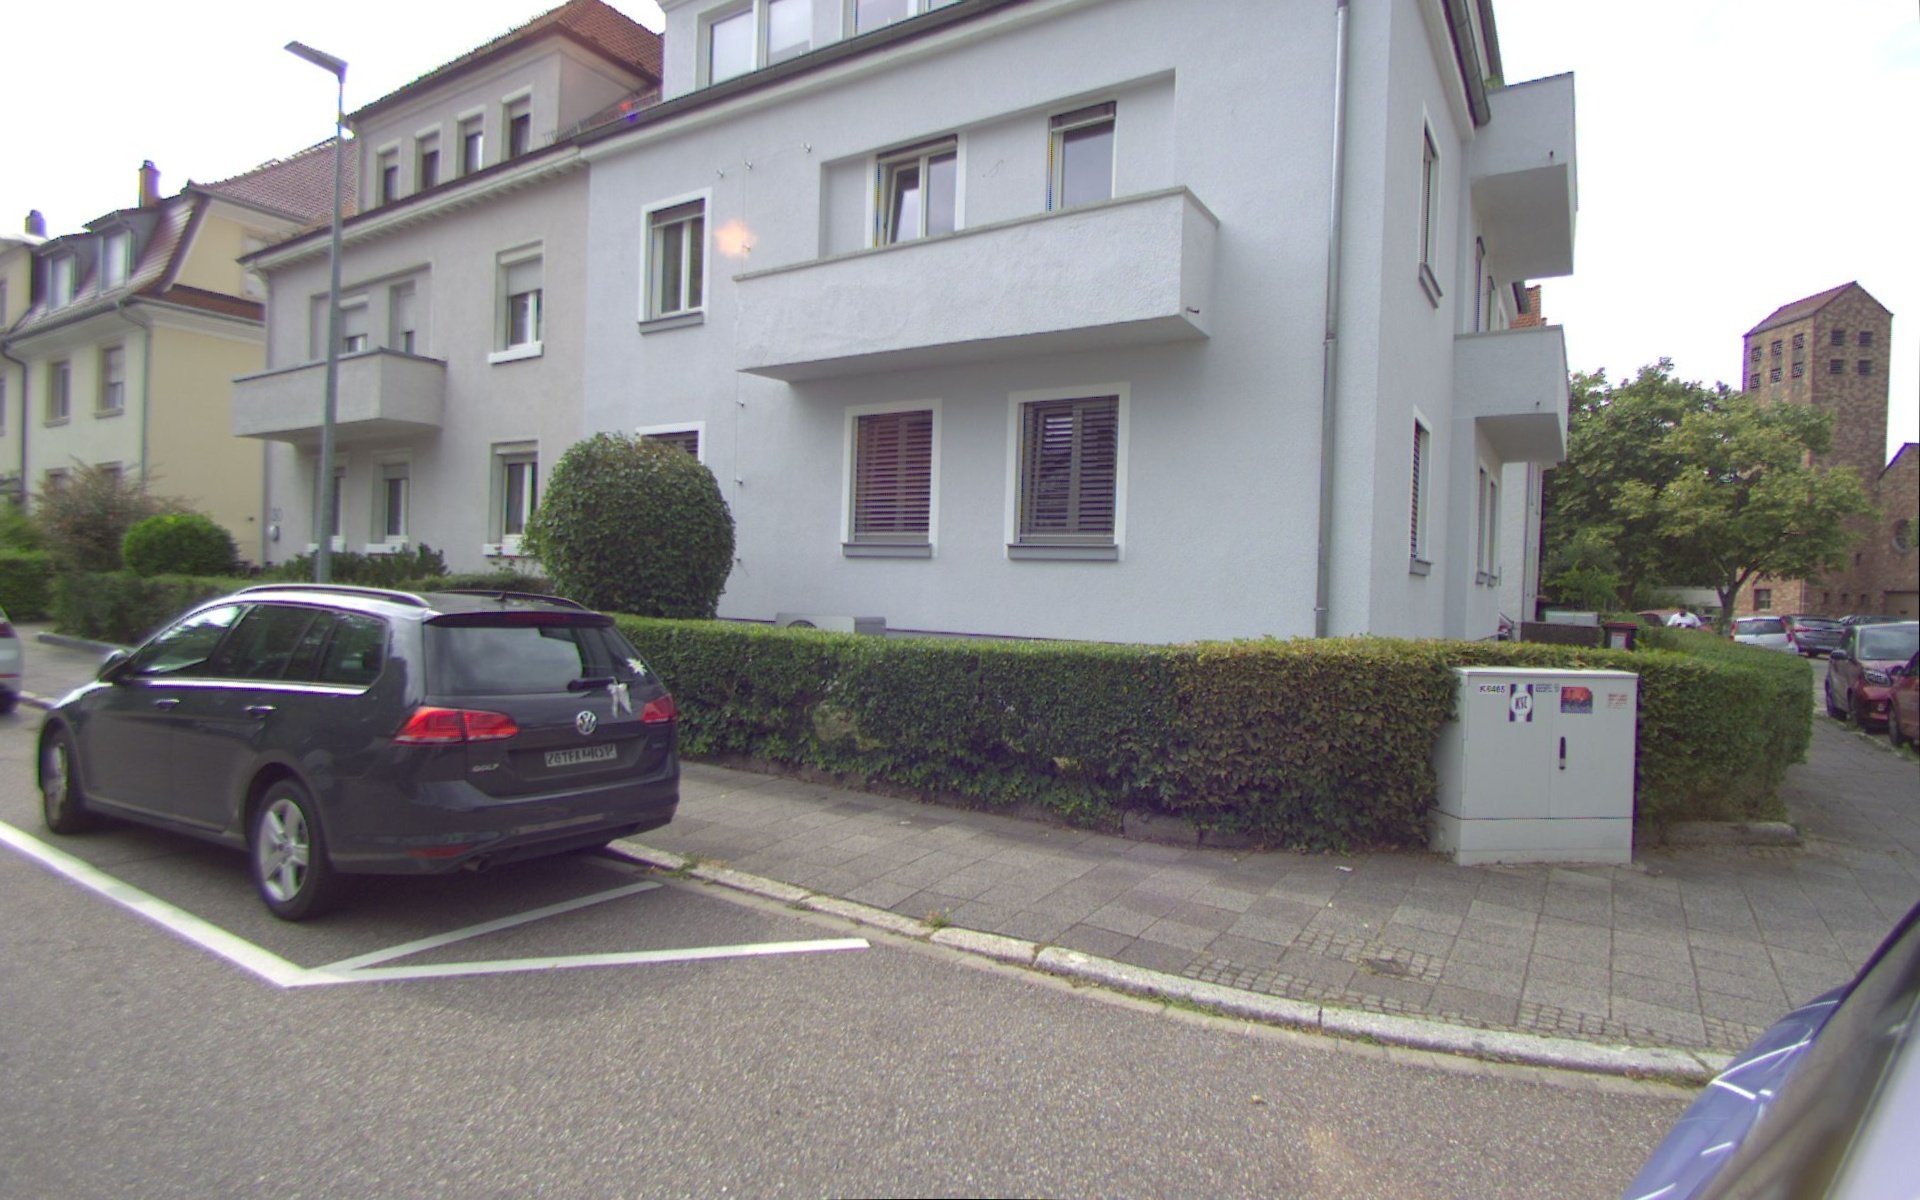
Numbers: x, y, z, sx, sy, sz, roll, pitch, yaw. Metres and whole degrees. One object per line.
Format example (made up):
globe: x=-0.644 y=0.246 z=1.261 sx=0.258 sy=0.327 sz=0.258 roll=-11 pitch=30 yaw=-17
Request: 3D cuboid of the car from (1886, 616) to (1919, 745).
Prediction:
car: x=11.976 y=0.957 z=11.385 sx=1.638 sy=1.515 sz=3.441 roll=-2 pitch=-1 yaw=32

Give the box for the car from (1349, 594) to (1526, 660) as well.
car: x=12.617 y=0.654 z=26.809 sx=3.973 sy=1.482 sz=1.975 roll=3 pitch=1 yaw=34

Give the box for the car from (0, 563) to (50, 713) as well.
car: x=-11.655 y=0.313 z=10.925 sx=4.149 sy=1.490 sz=1.836 roll=3 pitch=1 yaw=35

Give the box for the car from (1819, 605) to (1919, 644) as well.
car: x=40.769 y=1.087 z=44.590 sx=4.198 sy=1.482 sz=1.665 roll=3 pitch=3 yaw=33

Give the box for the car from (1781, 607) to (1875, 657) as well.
car: x=30.448 y=1.066 z=35.609 sx=1.842 sy=1.499 sz=3.995 roll=5 pitch=2 yaw=32

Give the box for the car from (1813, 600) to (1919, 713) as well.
car: x=14.148 y=0.773 z=15.092 sx=1.638 sy=1.515 sz=3.441 roll=-2 pitch=-1 yaw=32

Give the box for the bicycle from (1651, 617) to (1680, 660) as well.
bicycle: x=20.146 y=1.071 z=28.920 sx=0.419 sy=1.117 sz=2.094 roll=2 pitch=1 yaw=29

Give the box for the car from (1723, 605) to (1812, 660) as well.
car: x=24.112 y=0.942 z=30.338 sx=1.638 sy=1.515 sz=3.441 roll=-2 pitch=-1 yaw=32

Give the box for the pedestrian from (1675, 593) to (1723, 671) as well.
pedestrian: x=18.902 y=0.794 z=25.913 sx=0.878 sy=1.902 sz=1.066 roll=2 pitch=1 yaw=33

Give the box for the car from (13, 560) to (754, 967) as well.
car: x=-3.370 y=0.587 z=5.745 sx=4.141 sy=1.490 sz=1.840 roll=2 pitch=1 yaw=30

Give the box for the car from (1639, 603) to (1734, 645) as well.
car: x=27.804 y=0.896 z=38.836 sx=1.625 sy=1.515 sz=3.469 roll=-1 pitch=-1 yaw=12
